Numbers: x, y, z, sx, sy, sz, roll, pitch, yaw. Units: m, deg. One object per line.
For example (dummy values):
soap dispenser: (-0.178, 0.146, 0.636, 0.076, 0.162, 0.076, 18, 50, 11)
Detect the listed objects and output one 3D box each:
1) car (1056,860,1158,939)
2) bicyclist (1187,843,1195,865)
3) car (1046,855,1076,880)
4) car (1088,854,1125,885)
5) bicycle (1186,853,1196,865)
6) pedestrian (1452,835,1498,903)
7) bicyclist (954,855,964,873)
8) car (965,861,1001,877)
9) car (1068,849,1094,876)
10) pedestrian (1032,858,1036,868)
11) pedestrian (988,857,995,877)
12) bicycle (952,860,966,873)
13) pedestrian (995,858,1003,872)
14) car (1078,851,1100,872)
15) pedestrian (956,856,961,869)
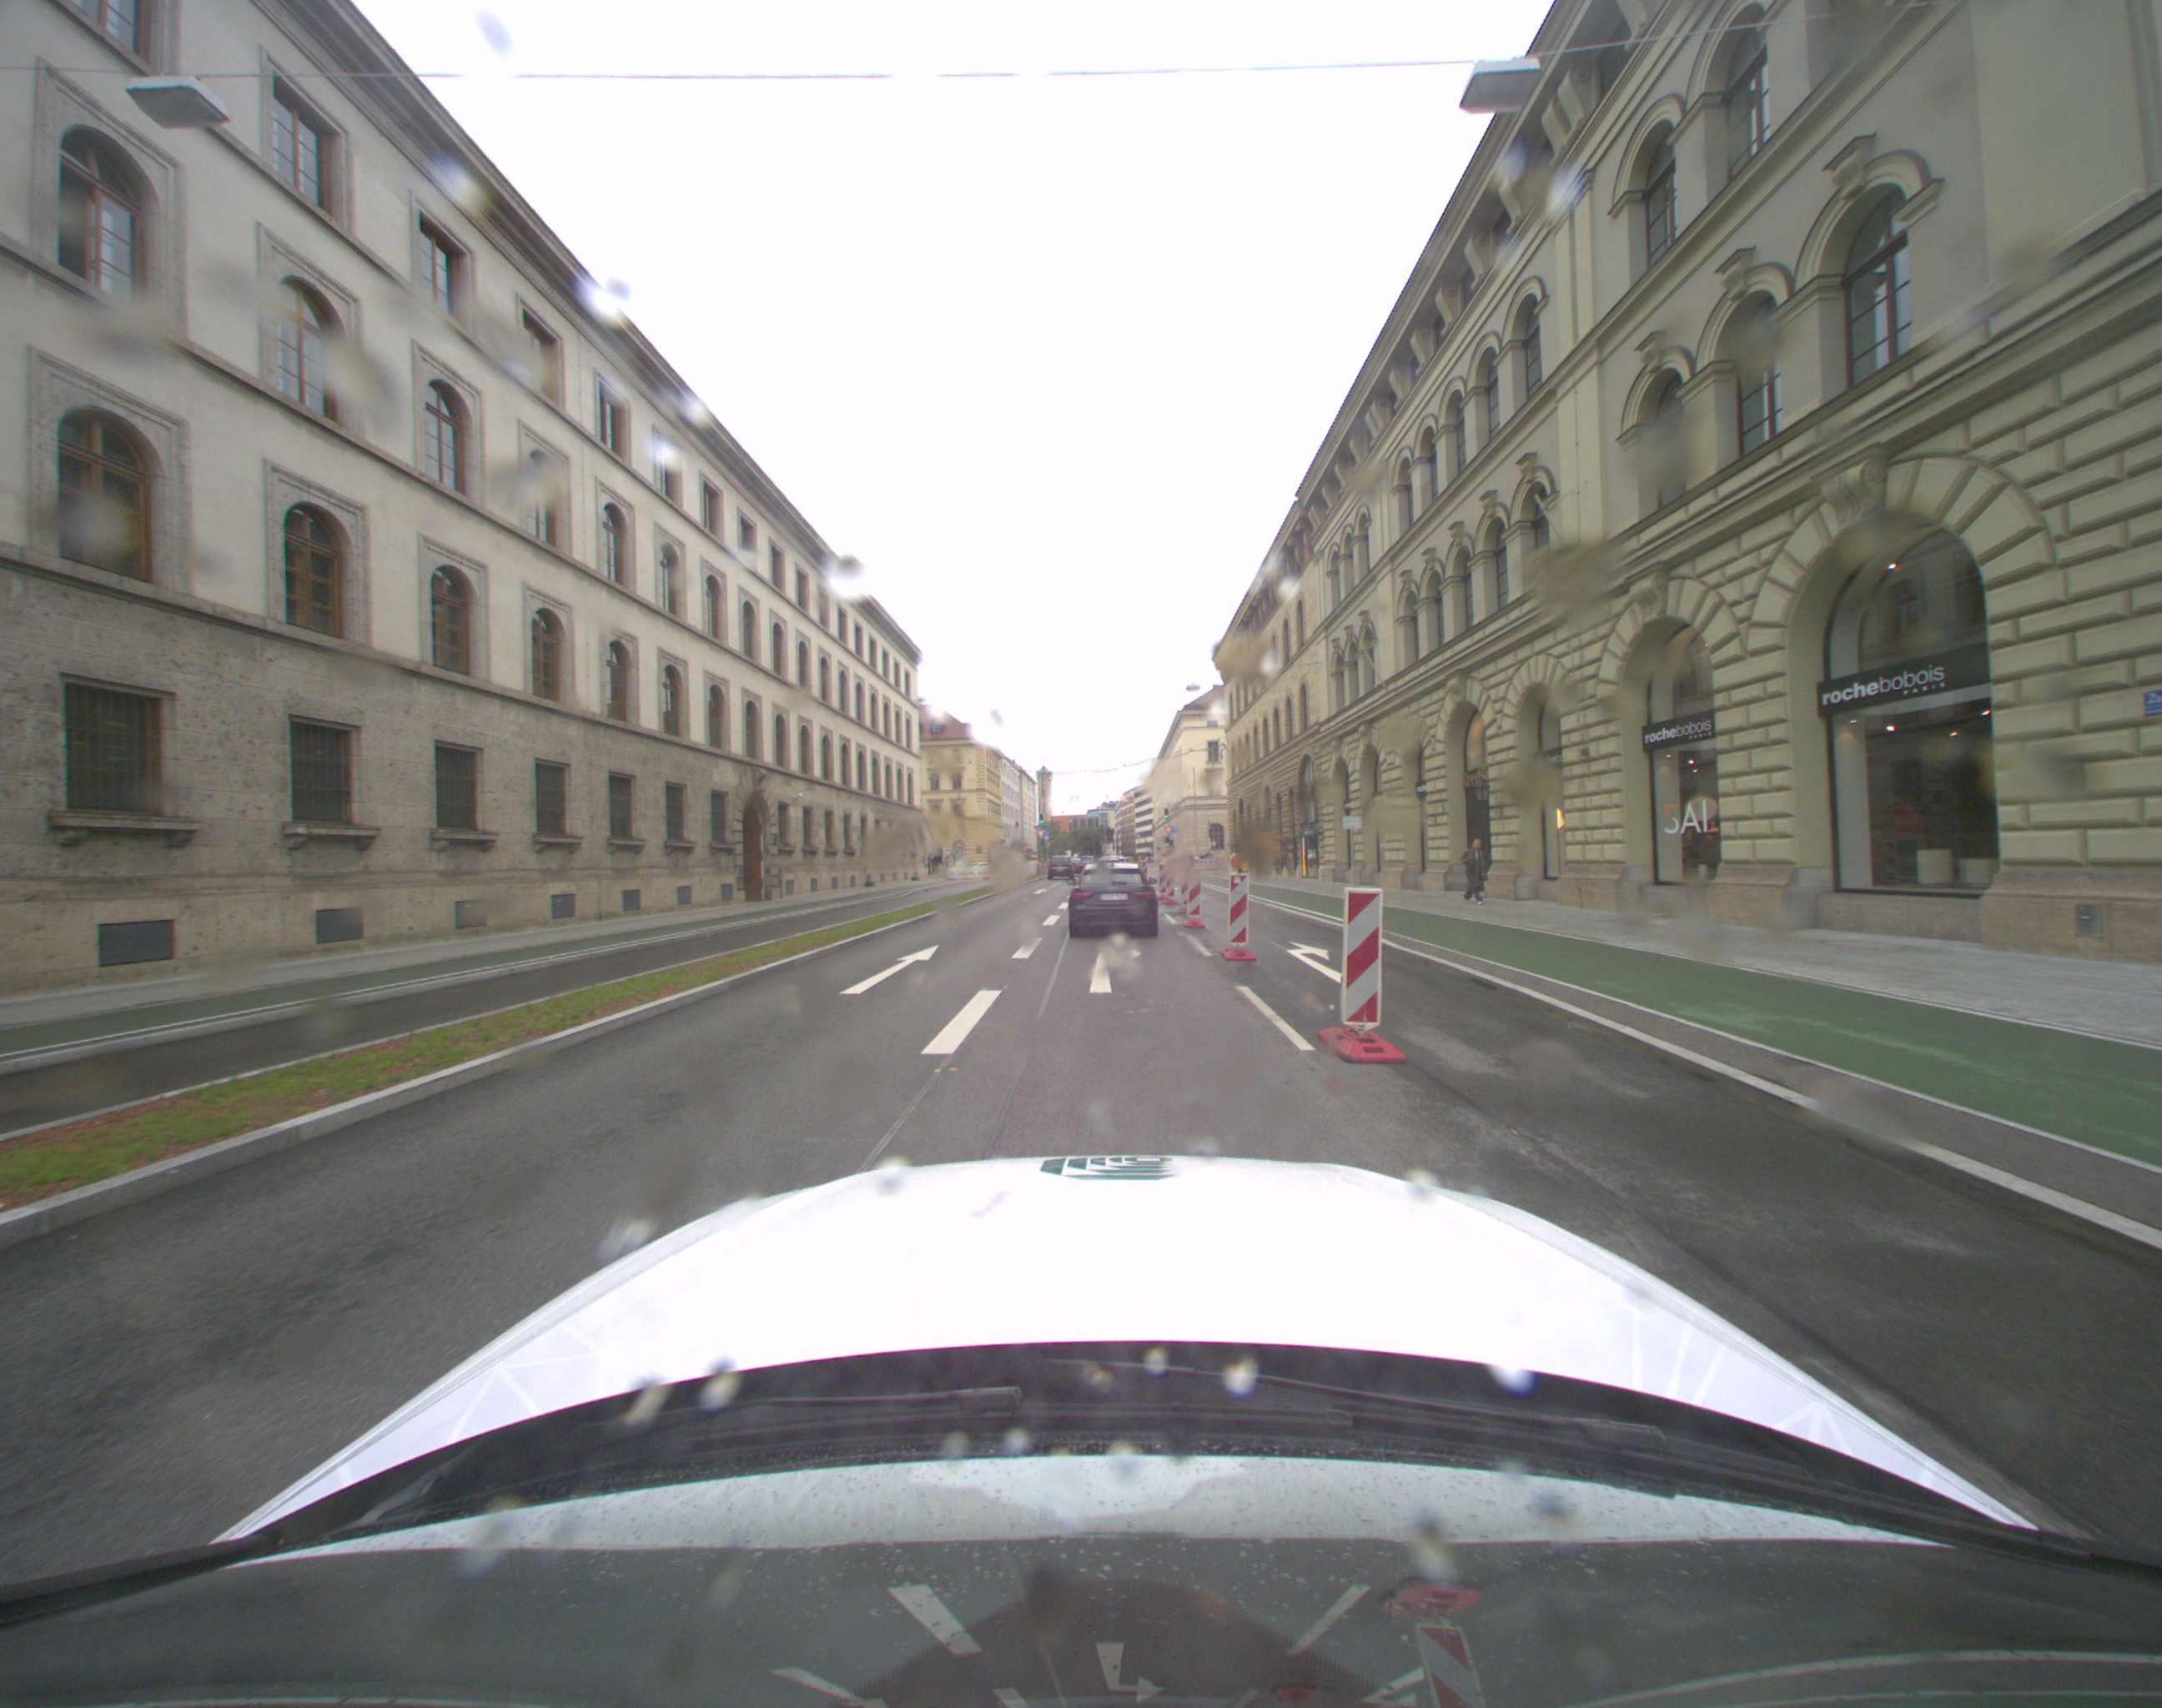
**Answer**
car: (0.538, 0.851, 16.944, 1.856, 1.388, 4.001, -1, 0, 2)
bicyclist: (9.418, -0.002, 69.635, 0.564, 1.854, 0.798, -1, 0, -3)
car: (-1.378, 0.913, 56.585, 1.858, 1.601, 3.852, -2, 0, 1)
car: (1.354, 0.814, 44.312, 1.764, 1.617, 3.997, -1, 0, -2)
bicycle: (9.422, 0.433, 69.638, 0.583, 1.011, 1.655, -1, 0, -3)
pedestrian: (10.233, 0.386, 21.197, 0.630, 1.704, 1.086, -2, 0, 1)
bicyclist: (-12.100, 1.024, 80.614, 0.794, 1.748, 0.690, -1, 0, 5)
car: (-11.673, 1.776, 96.889, 3.762, 1.798, 1.851, -2, -1, -29)
car: (0.014, 0.682, 65.945, 1.986, 2.013, 4.001, -2, 0, 1)
pedestrian: (-8.812, 1.647, 151.705, 0.734, 1.772, 0.736, -1, 0, 1)
pedestrian: (-8.009, 1.124, 72.800, 0.512, 1.743, 1.040, -1, 0, -8)
bicycle: (-12.101, 1.249, 80.633, 0.783, 1.242, 2.453, -1, 0, 6)
pedestrian: (-10.818, 1.412, 106.967, 0.727, 1.772, 0.743, -1, 0, 23)
car: (0.814, 0.712, 80.180, 1.986, 2.013, 4.002, -2, 0, 2)
pedestrian: (-15.944, 1.107, 106.011, 0.733, 1.772, 0.737, -1, 0, -8)
